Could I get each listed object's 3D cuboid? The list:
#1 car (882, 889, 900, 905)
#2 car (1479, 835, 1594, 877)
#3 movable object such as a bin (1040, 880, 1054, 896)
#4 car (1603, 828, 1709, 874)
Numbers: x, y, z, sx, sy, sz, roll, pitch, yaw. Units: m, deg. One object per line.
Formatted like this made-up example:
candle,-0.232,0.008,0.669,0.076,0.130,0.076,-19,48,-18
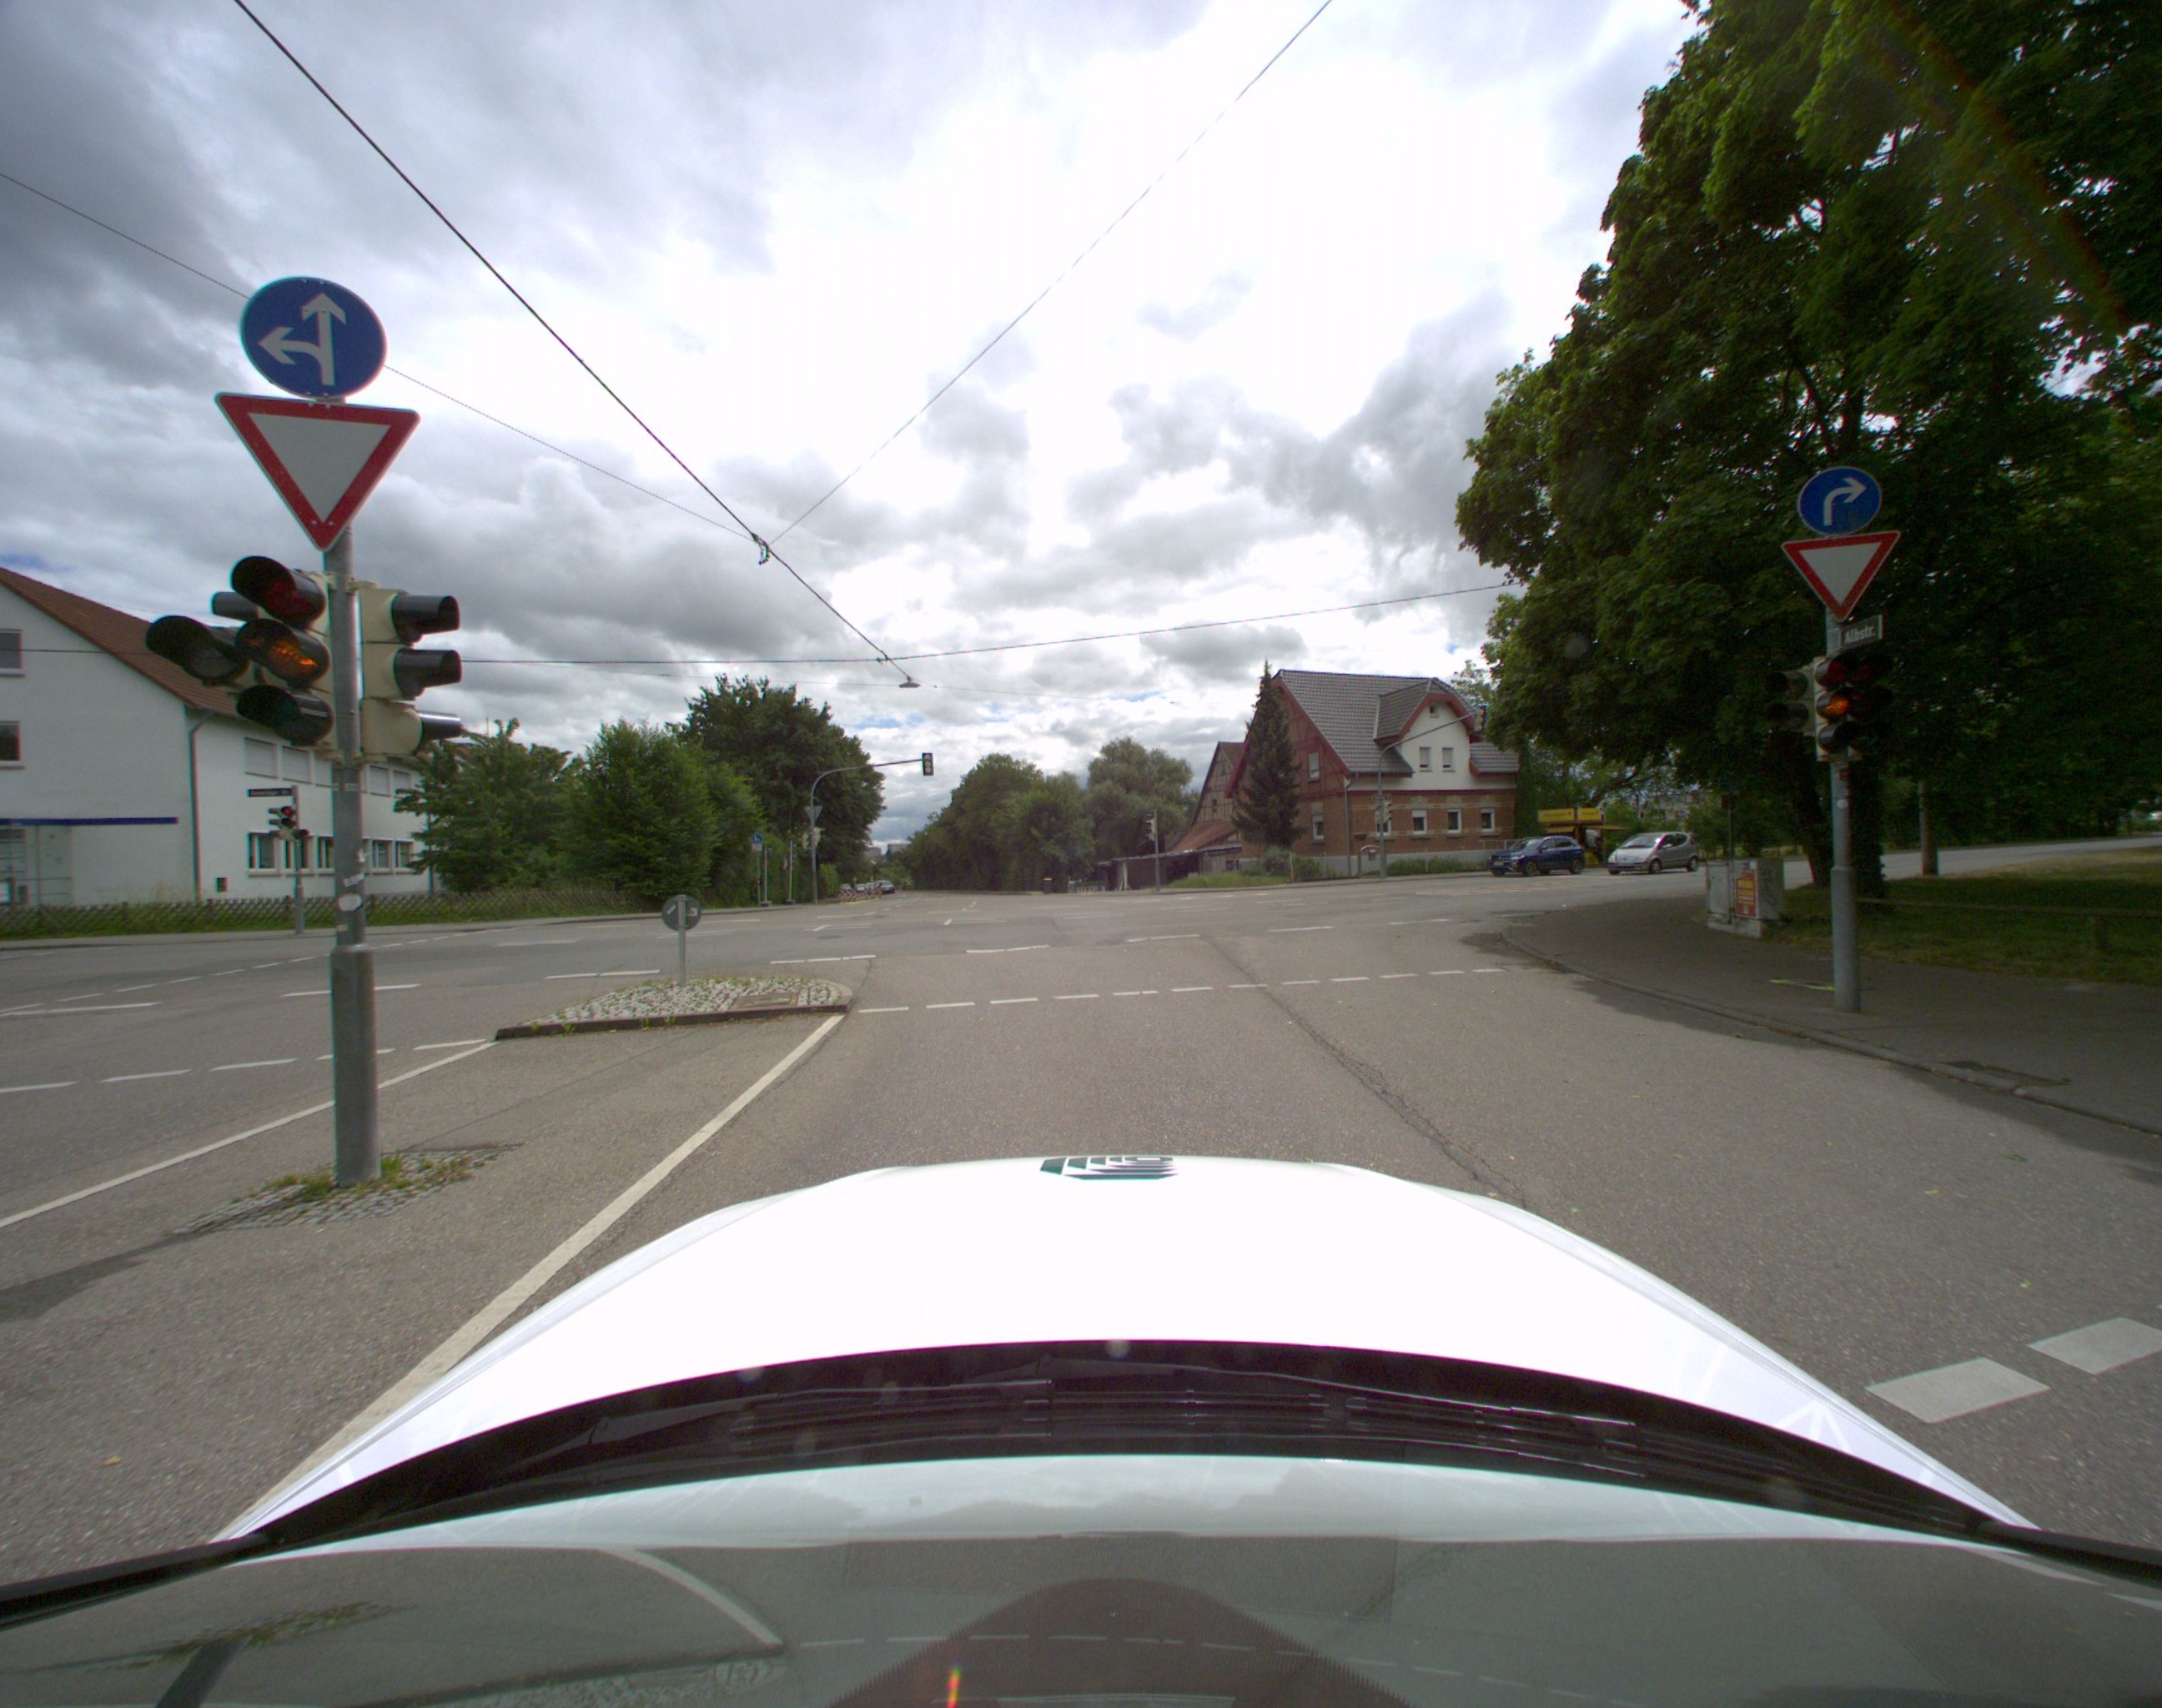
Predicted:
car,-22.529,5.109,96.654,1.996,1.750,3.981,-3,-1,-13
car,18.610,0.082,33.283,4.000,1.518,1.915,-3,-1,-20
movable object such as a bin,-1.977,1.981,47.676,0.586,0.906,0.606,-3,-1,21
car,22.075,-0.126,31.257,3.565,1.519,1.765,-3,-2,-26
